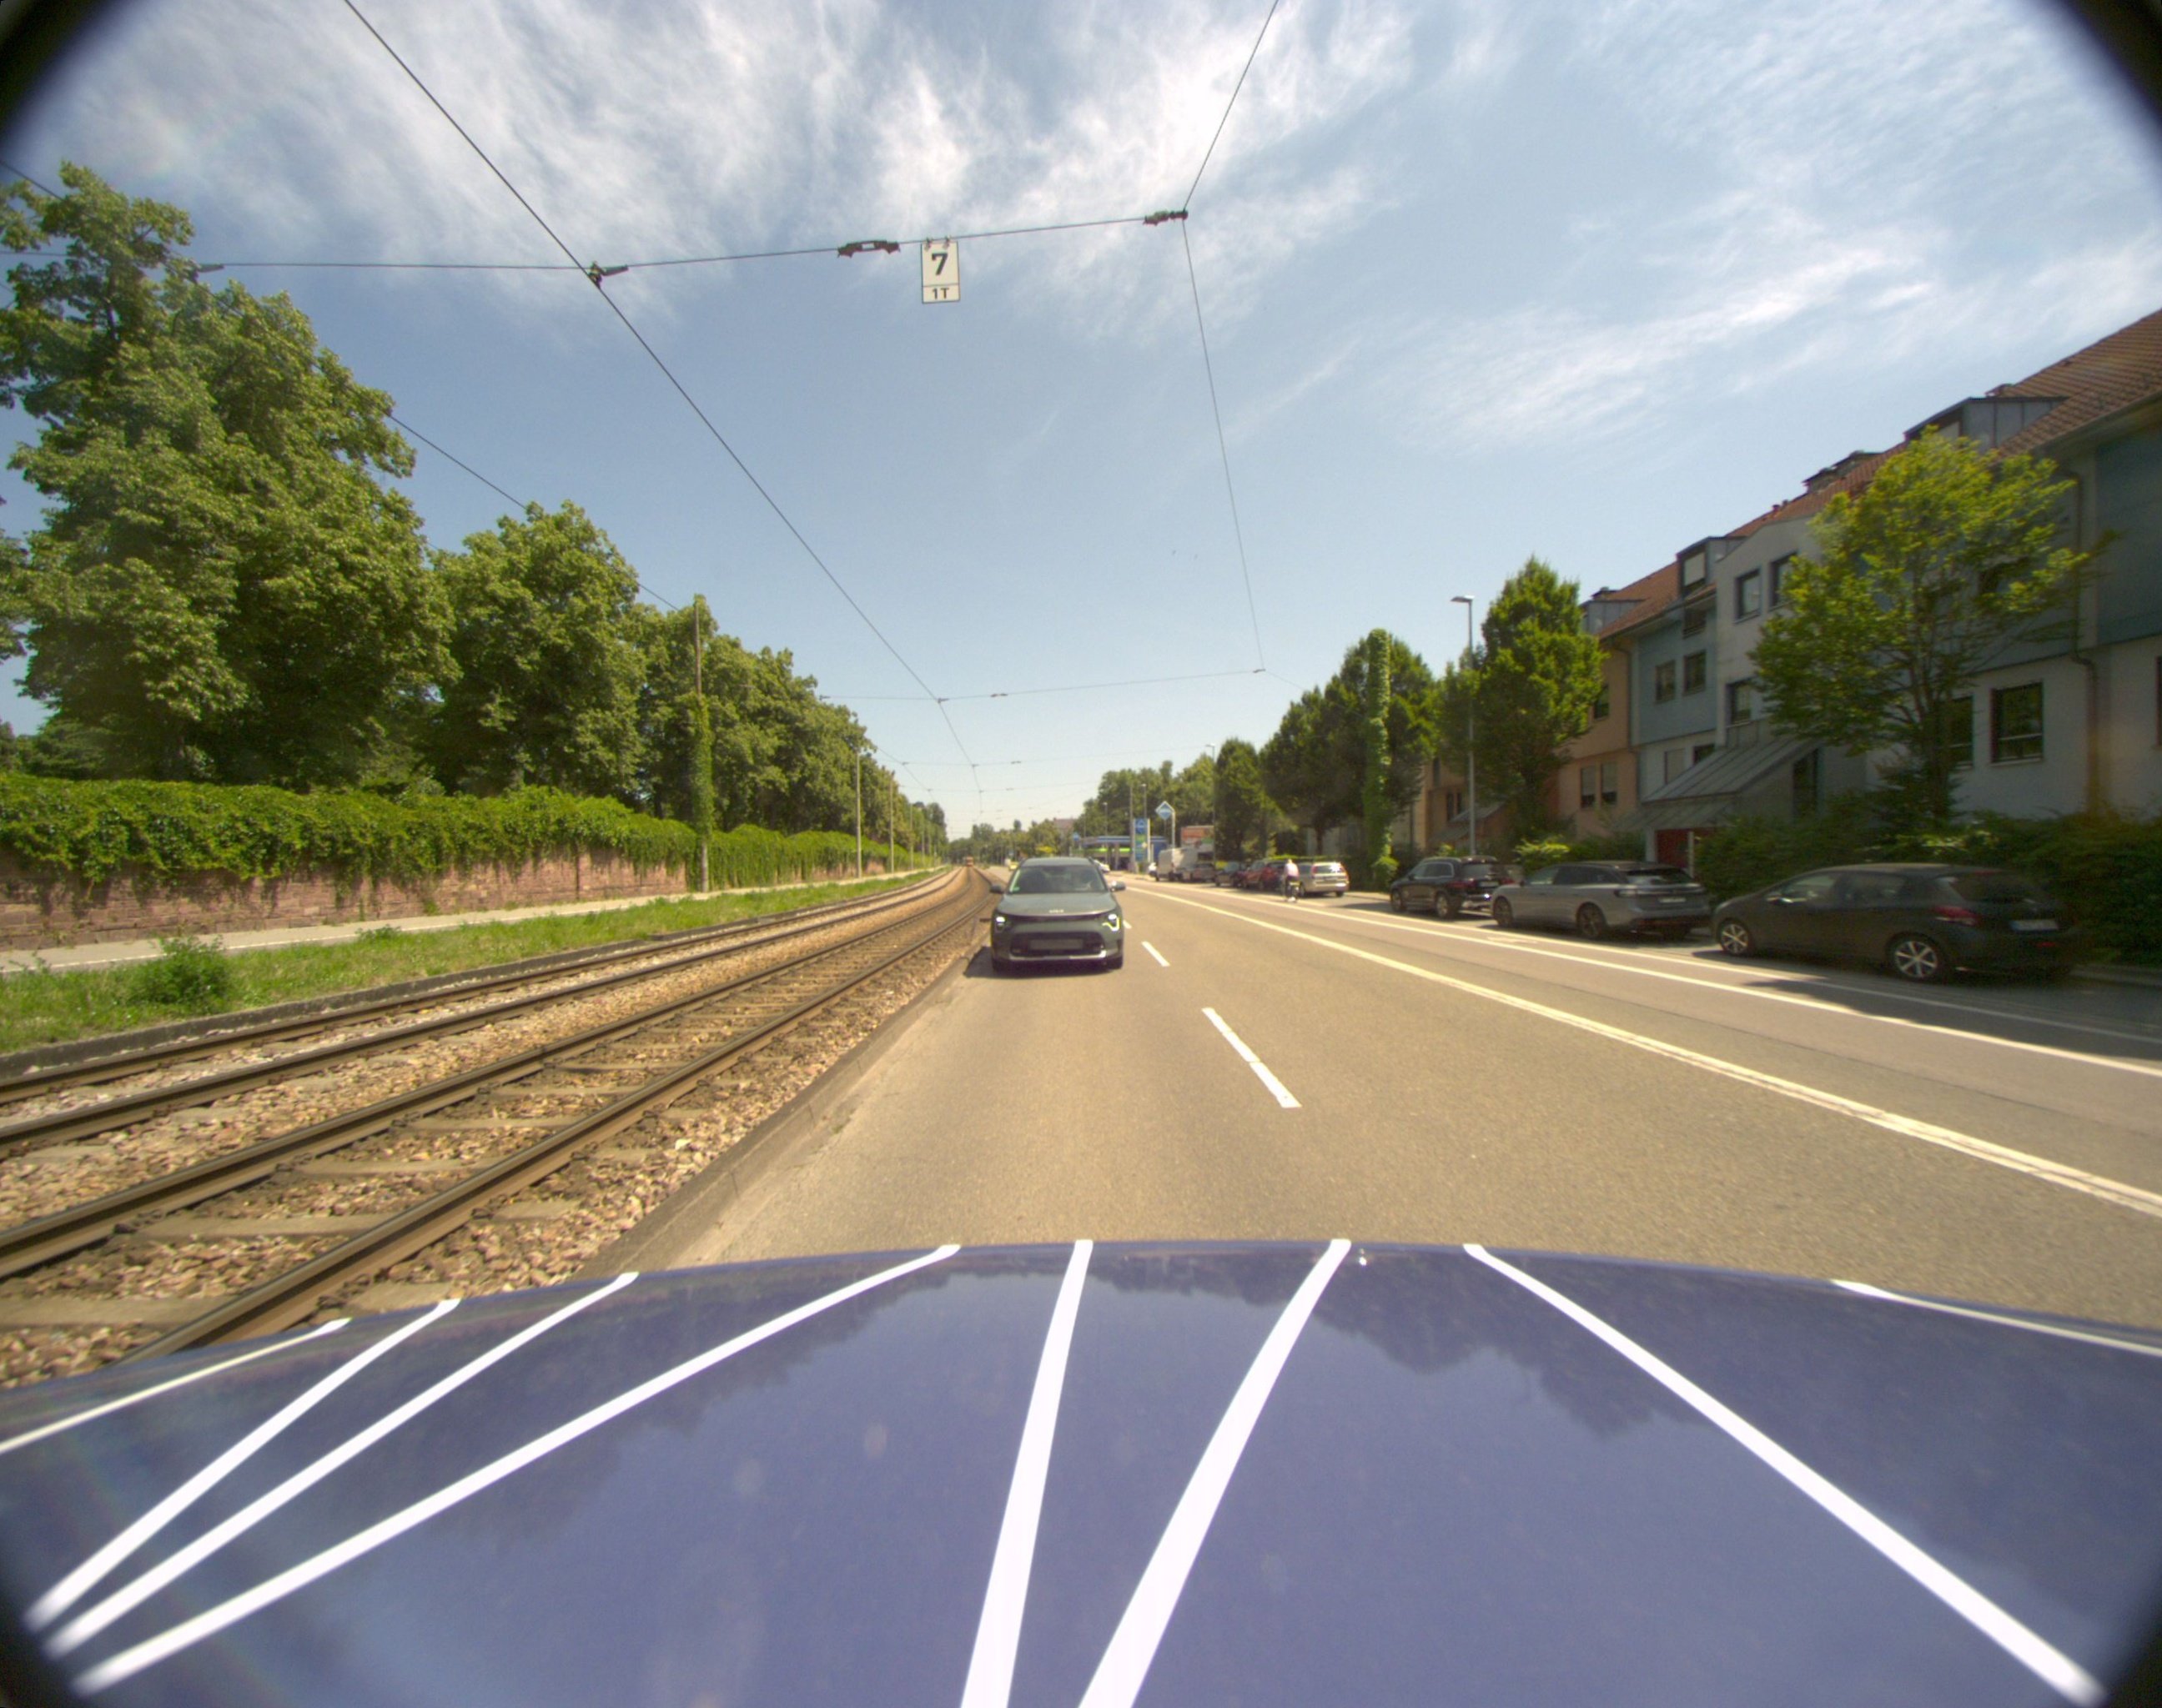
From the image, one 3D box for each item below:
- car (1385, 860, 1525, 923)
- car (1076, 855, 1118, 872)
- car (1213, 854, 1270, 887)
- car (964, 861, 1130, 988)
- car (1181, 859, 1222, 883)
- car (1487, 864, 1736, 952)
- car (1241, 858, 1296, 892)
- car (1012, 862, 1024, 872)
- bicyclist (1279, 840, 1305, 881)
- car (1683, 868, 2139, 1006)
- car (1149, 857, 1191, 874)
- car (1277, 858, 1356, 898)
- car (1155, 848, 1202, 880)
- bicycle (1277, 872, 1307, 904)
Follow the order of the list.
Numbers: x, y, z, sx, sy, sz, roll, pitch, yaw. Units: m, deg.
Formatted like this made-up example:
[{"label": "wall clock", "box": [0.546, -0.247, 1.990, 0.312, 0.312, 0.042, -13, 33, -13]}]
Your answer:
[{"label": "car", "box": [10.576, 0.991, 21.858, 1.772, 1.579, 4.147, -2, 0, -3]}, {"label": "car", "box": [2.220, 1.286, 103.696, 5.367, 2.085, 2.001, -2, 1, 8]}, {"label": "car", "box": [9.278, 0.900, 44.289, 1.999, 1.783, 4.556, -1, 0, -5]}, {"label": "car", "box": [-0.319, 0.925, 11.666, 2.062, 1.533, 4.001, -2, -1, 3]}, {"label": "car", "box": [8.372, 1.162, 53.197, 1.870, 1.528, 4.142, -2, -1, -4]}, {"label": "car", "box": [10.803, 0.999, 16.036, 1.830, 1.487, 4.757, -2, 0, -1]}, {"label": "car", "box": [9.578, 1.054, 39.078, 1.604, 1.584, 3.680, -2, -1, -5]}, {"label": "car", "box": [-10.133, 2.069, 122.027, 1.696, 1.403, 3.513, -2, 0, -7]}, {"label": "bicyclist", "box": [7.931, 0.235, 28.569, 0.737, 1.496, 0.737, 1, 1, 1]}, {"label": "car", "box": [11.105, 0.976, 10.744, 1.754, 1.423, 4.257, -3, 0, 0]}, {"label": "car", "box": [9.331, 1.171, 79.548, 4.123, 1.765, 2.002, 0, 0, 15]}, {"label": "car", "box": [10.156, 1.005, 33.183, 1.845, 1.573, 4.496, -2, 0, -2]}, {"label": "car", "box": [7.507, 0.796, 59.233, 2.285, 2.294, 5.226, -2, -1, -8]}, {"label": "bicycle", "box": [7.911, 1.260, 28.559, 0.641, 1.089, 1.639, 2, 1, 1]}]
